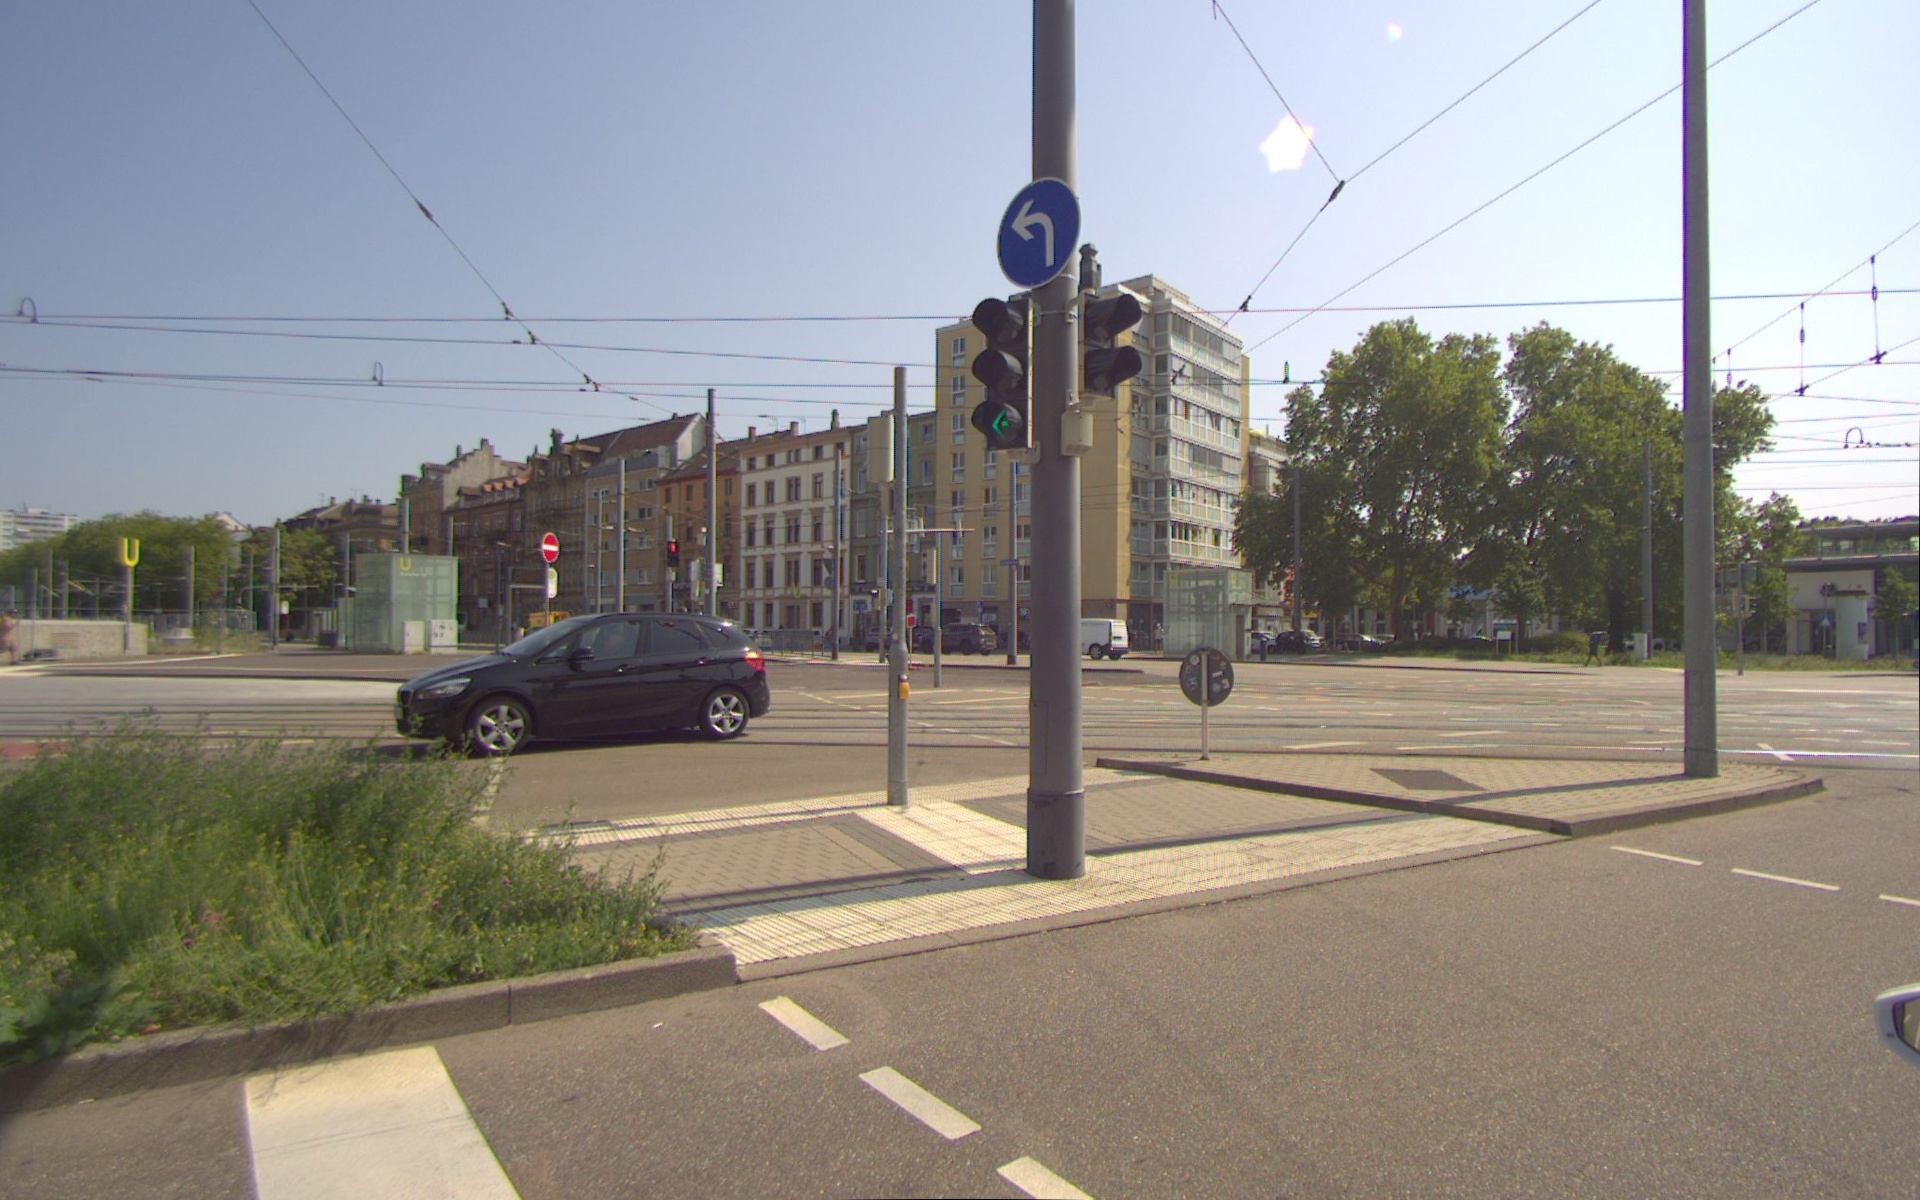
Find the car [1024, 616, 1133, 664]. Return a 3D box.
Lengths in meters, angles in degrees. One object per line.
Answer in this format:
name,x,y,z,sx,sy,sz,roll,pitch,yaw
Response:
car,5.348,1.781,45.534,4.551,2.040,1.993,0,-2,37

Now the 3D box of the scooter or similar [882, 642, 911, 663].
scooter or similar,-2.640,2.167,41.763,1.134,0.835,0.516,2,-2,-39

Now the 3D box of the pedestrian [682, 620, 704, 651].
pedestrian,-13.614,1.821,51.188,0.847,1.563,0.739,-1,-2,43

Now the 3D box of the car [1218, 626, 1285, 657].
car,19.774,2.782,68.250,3.941,2.040,1.921,-1,-2,41

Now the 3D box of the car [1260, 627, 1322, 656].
car,24.479,3.025,74.231,3.941,2.040,1.921,-1,-2,41

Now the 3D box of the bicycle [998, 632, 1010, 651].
bicycle,2.923,2.748,67.032,0.680,1.220,2.792,1,-2,1

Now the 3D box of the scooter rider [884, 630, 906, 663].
scooter rider,-2.707,1.930,41.792,0.603,1.371,0.681,2,-2,-39

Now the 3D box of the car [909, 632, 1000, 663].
car,-0.327,2.484,53.153,4.551,1.524,1.993,-1,-2,37

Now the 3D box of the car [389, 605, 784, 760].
car,-4.414,0.907,12.205,4.171,1.581,1.720,2,-2,-38

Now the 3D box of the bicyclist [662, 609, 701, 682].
bicyclist,-5.915,0.958,21.334,0.633,1.529,0.553,2,-2,-39

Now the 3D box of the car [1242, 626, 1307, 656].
car,22.167,2.896,70.902,3.941,2.040,1.921,-1,-2,41

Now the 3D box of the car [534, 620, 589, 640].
car,-30.129,2.269,75.929,4.694,1.434,1.769,-1,-2,38

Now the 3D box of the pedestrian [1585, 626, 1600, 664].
pedestrian,28.530,2.027,45.323,0.546,1.706,0.452,0,-2,39

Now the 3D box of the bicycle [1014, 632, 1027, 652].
bicycle,3.963,2.749,66.029,0.680,1.220,3.264,1,-2,1

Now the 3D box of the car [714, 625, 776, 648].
car,-14.033,2.392,65.466,4.136,1.434,1.769,-1,-2,38

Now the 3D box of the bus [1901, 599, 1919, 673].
bus,46.399,1.632,43.572,11.827,3.123,2.562,1,-2,-17
